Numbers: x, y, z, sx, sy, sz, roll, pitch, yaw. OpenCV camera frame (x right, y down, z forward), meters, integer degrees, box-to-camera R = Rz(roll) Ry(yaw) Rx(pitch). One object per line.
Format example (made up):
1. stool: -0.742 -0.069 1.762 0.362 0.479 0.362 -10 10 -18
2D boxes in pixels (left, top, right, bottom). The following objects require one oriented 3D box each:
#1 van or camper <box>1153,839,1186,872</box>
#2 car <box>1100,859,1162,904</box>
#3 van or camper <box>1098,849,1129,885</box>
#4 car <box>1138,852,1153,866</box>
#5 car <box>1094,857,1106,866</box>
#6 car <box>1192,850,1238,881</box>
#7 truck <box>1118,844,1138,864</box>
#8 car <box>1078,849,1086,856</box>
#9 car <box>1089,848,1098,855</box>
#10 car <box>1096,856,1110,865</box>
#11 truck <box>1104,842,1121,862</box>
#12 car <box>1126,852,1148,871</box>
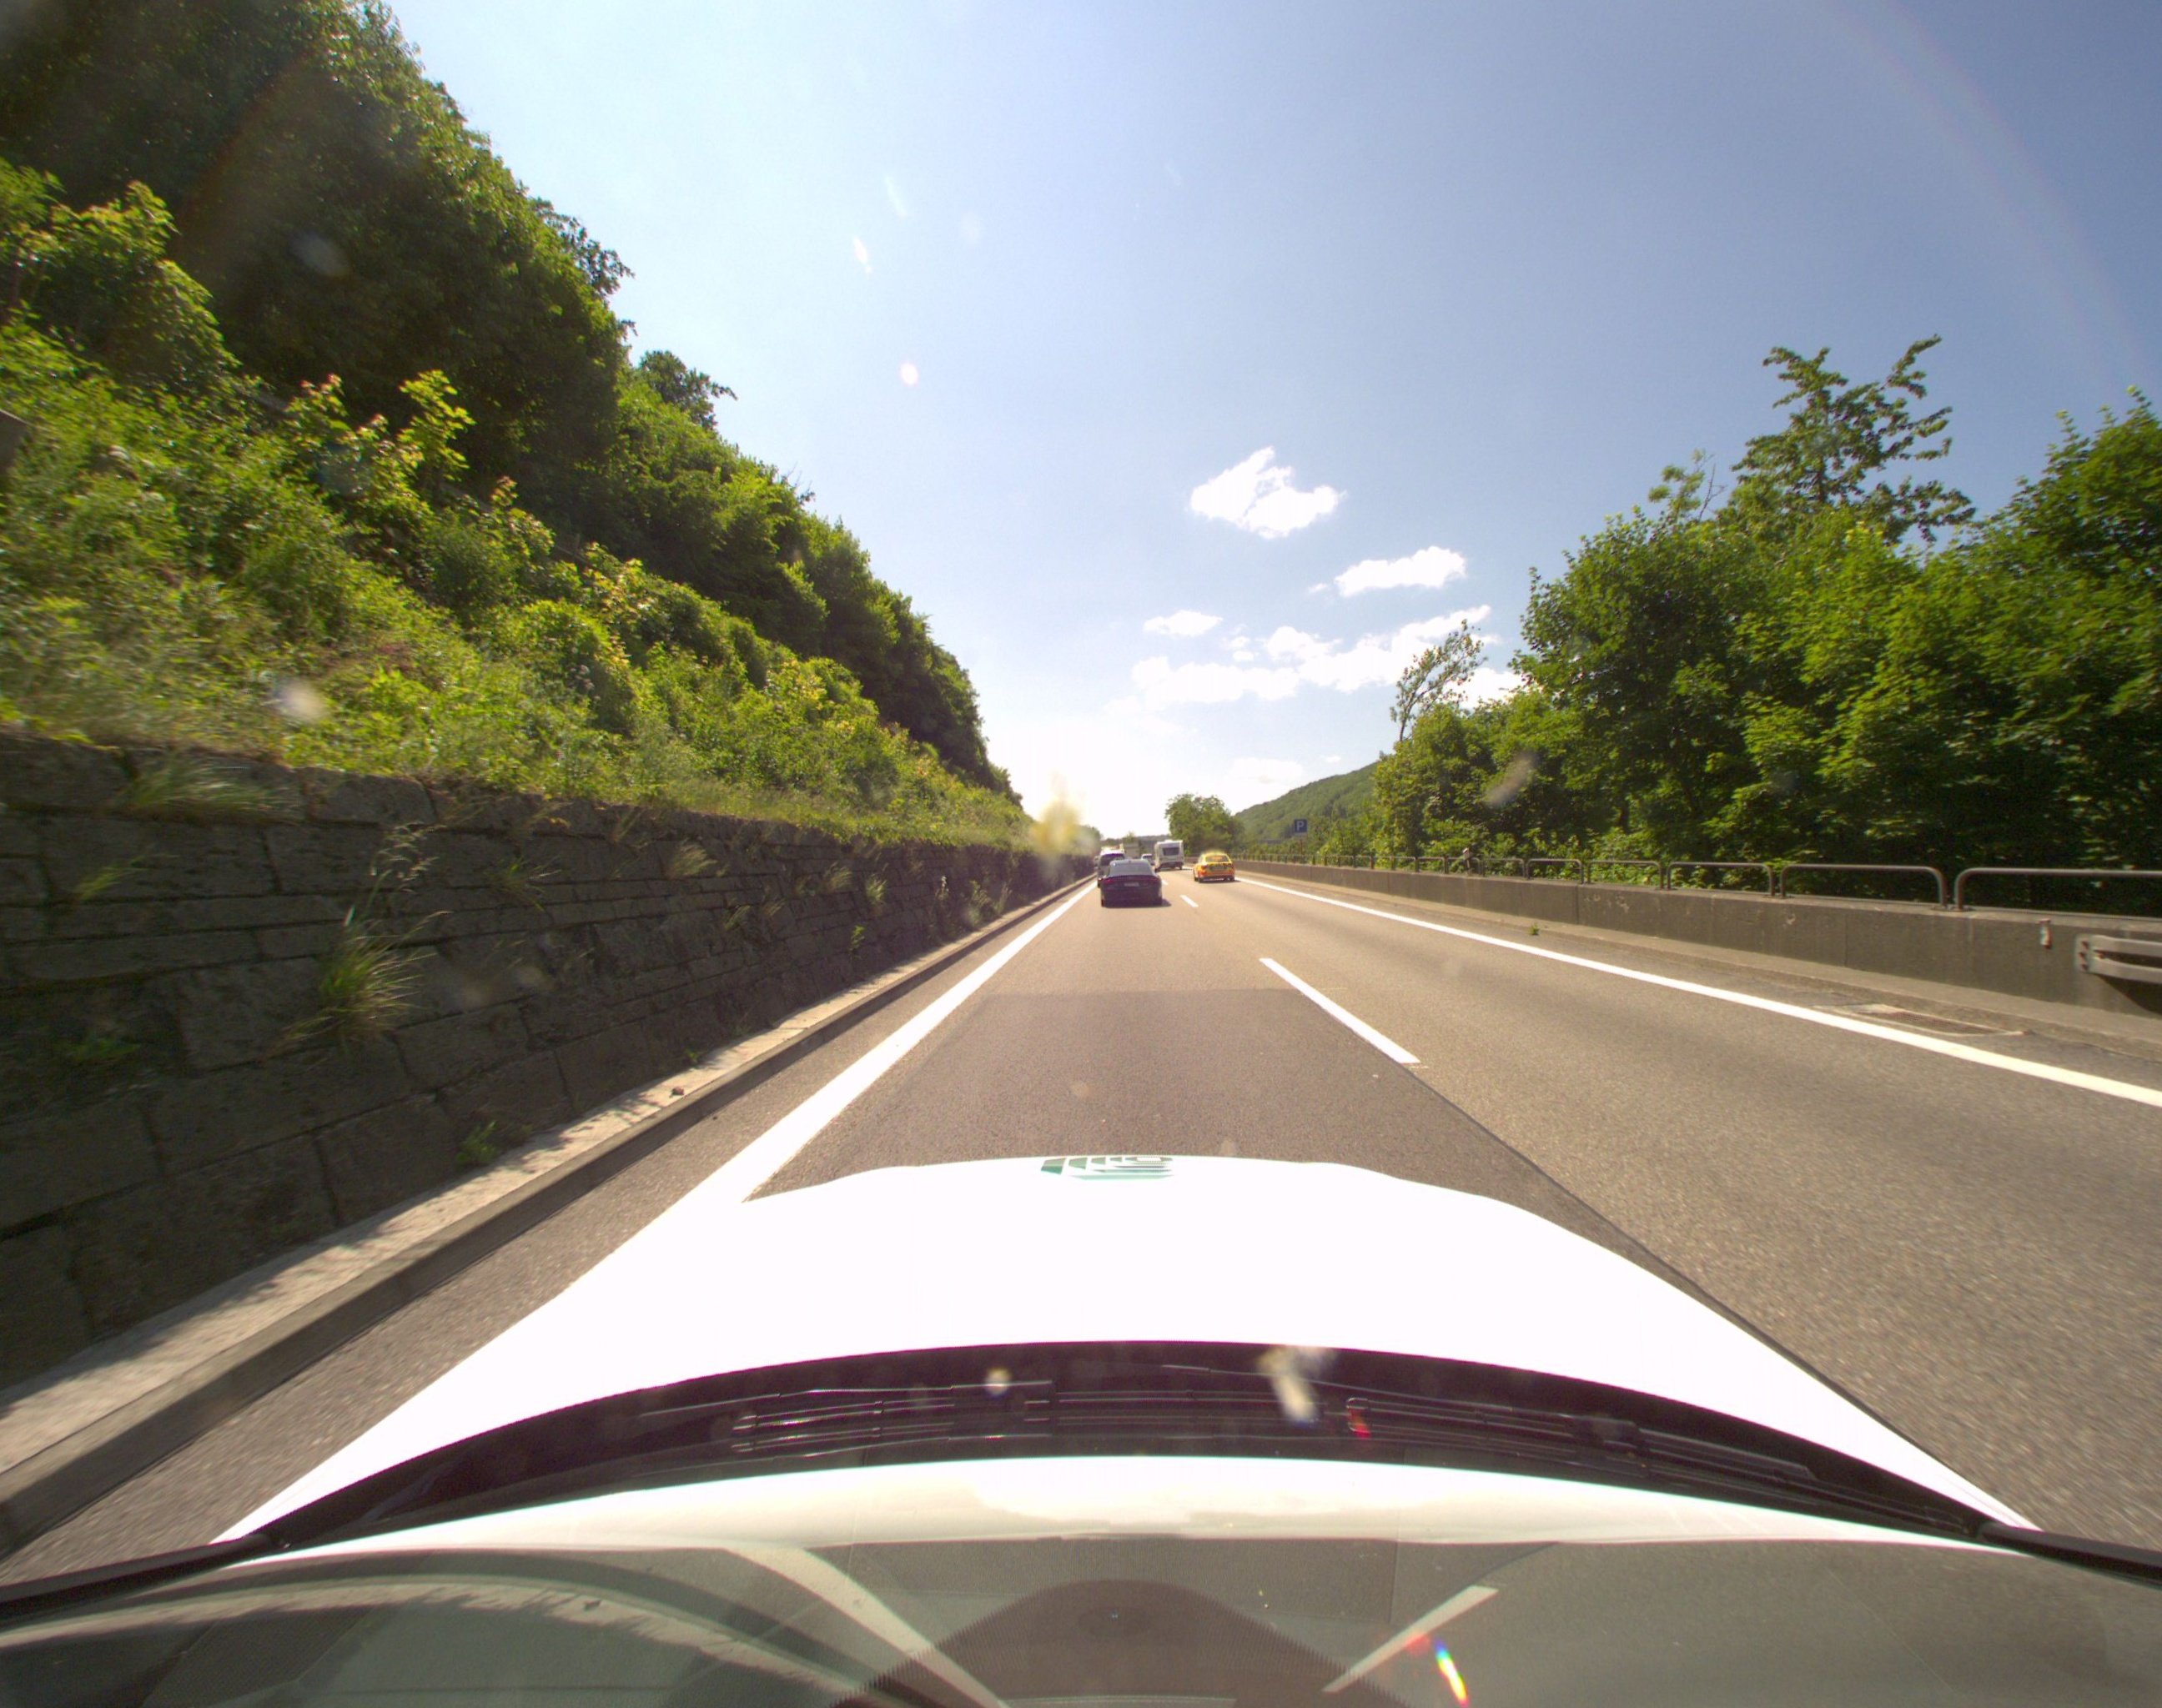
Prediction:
1. van or camper: 7.987 0.164 74.271 2.447 2.918 6.125 0 -1 1
2. car: 1.554 0.851 26.013 1.830 1.349 4.001 0 -1 2
3. van or camper: 1.663 0.681 42.833 1.388 1.816 3.997 0 -1 -1
4. car: 8.394 0.645 106.238 1.834 1.717 4.002 -1 0 2
5. car: 3.495 1.329 147.637 1.988 1.464 3.997 -1 0 -2
6. car: 6.827 0.608 41.883 1.855 1.488 4.001 0 -1 2
7. truck: 7.886 -0.005 136.499 2.832 3.131 7.477 -1 0 -1
8. car: 0.274 -0.508 246.861 1.991 2.013 3.992 -1 0 -6
9. car: 3.407 -0.667 219.900 1.991 2.013 3.992 -1 0 -6
10. car: 3.594 1.063 131.894 1.988 1.464 3.997 -1 0 -2
11. truck: 6.429 -0.425 168.137 2.727 4.096 7.470 -1 0 -4
12. car: 5.099 0.662 74.526 1.767 1.637 3.999 -1 0 0
